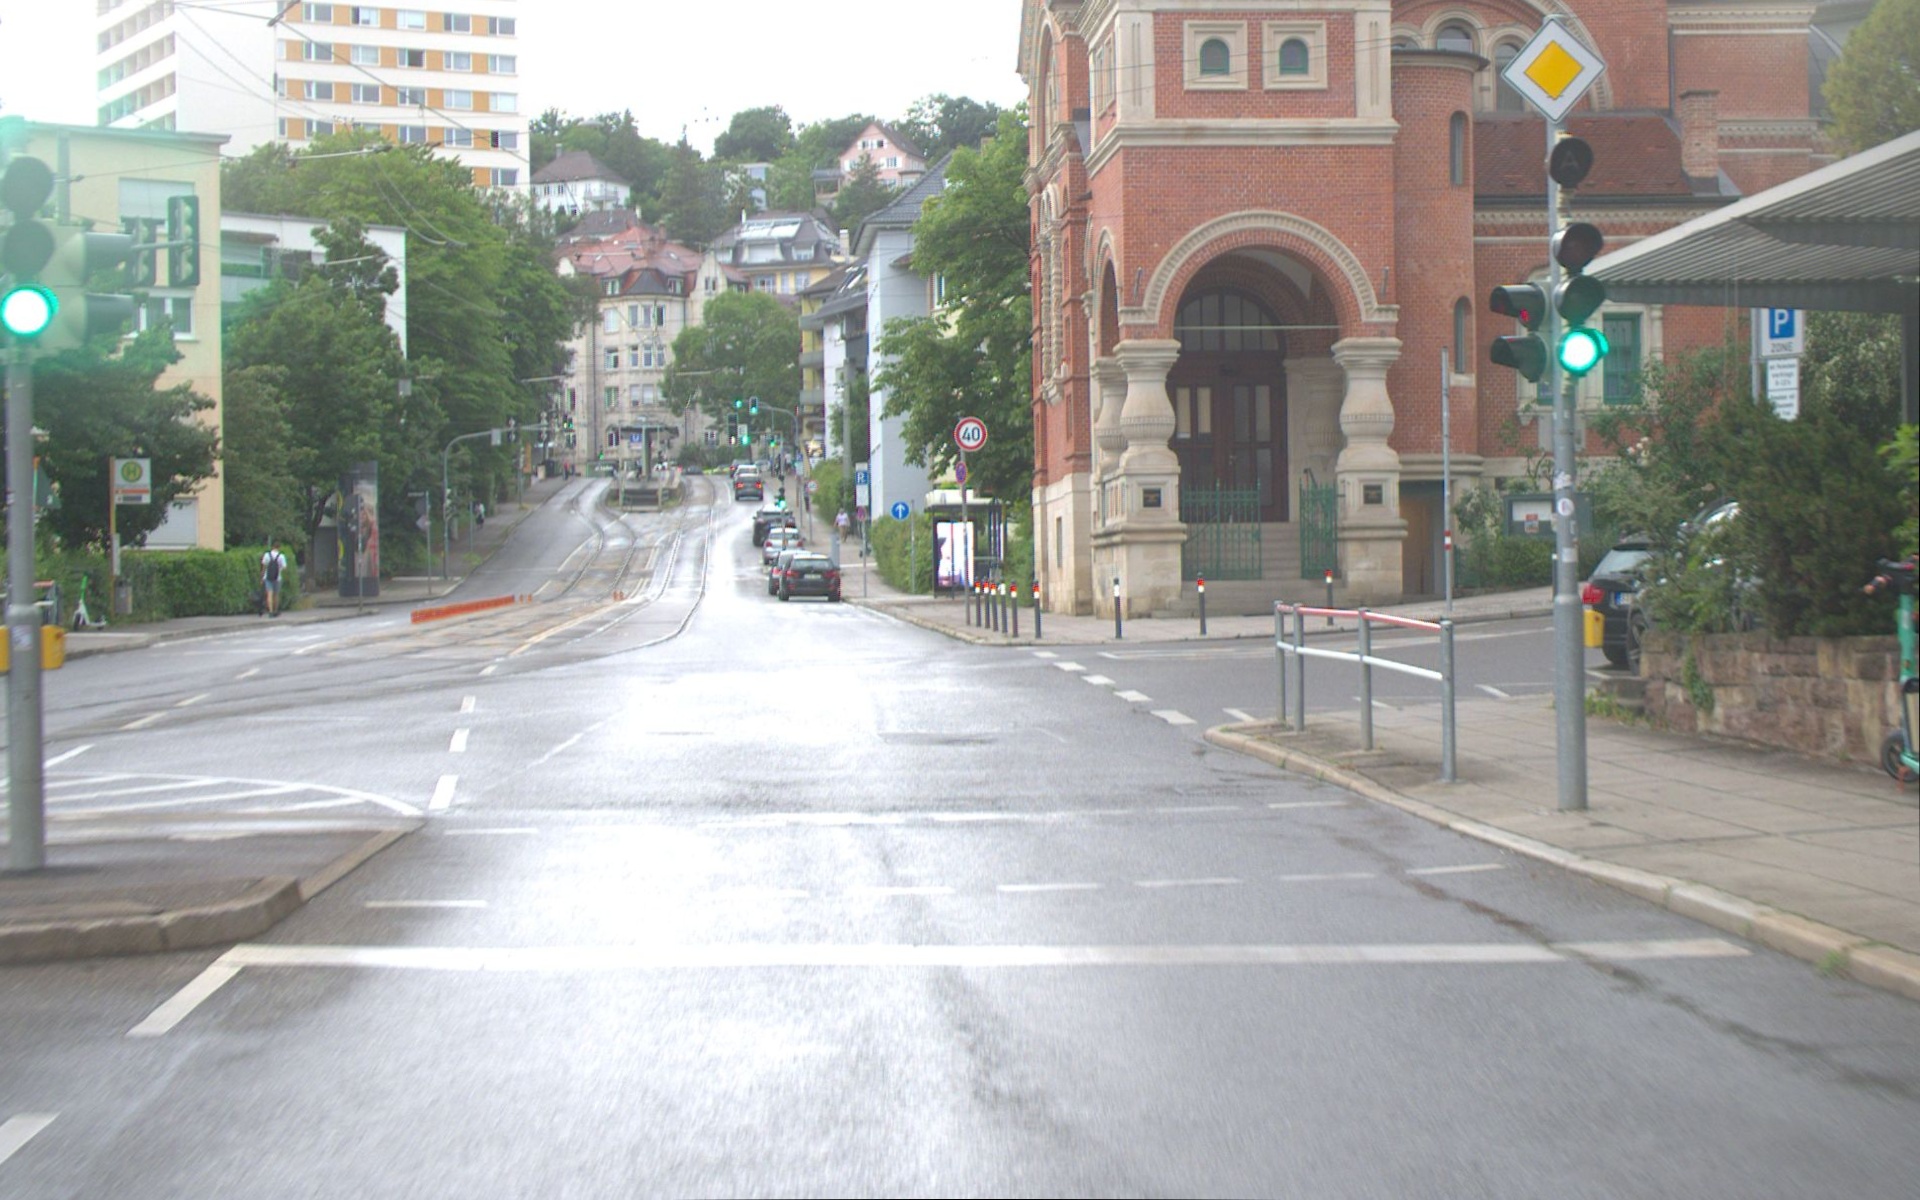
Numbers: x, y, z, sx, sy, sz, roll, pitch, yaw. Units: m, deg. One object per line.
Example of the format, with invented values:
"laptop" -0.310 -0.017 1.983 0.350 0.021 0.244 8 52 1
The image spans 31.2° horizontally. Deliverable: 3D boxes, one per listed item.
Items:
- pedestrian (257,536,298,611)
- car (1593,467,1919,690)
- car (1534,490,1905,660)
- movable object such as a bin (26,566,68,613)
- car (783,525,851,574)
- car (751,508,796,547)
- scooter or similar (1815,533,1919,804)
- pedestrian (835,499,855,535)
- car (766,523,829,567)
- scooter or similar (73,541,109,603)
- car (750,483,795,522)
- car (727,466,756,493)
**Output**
"pedestrian" -16.949 -0.659 85.370 0.918 1.839 1.017 1 0 -8
"car" 6.378 -0.163 26.507 1.853 1.498 4.449 -4 0 -3
"car" 8.209 -0.317 36.896 2.000 1.452 4.439 1 5 40
"movable object such as a bin" -17.077 -0.191 64.305 0.686 0.879 0.760 0 0 -9
"car" -4.427 -1.567 106.060 1.857 1.482 4.646 0 1 -5
"car" -7.739 -2.998 142.354 1.704 1.428 4.103 1 3 -5
"scooter or similar" 5.013 0.335 17.870 0.534 1.322 1.659 -5 1 -3
"pedestrian" -5.290 -3.831 158.488 0.882 1.577 0.802 -2 5 -2
"car" -5.614 -1.895 118.222 1.939 1.459 4.207 0 1 -6
"scooter or similar" -16.716 -0.536 66.146 0.572 1.180 1.600 0 0 -11
"car" -8.677 -4.510 158.851 1.906 1.636 4.691 1 3 -5
"car" -13.725 -7.570 216.456 1.801 1.640 4.001 0 2 -3
